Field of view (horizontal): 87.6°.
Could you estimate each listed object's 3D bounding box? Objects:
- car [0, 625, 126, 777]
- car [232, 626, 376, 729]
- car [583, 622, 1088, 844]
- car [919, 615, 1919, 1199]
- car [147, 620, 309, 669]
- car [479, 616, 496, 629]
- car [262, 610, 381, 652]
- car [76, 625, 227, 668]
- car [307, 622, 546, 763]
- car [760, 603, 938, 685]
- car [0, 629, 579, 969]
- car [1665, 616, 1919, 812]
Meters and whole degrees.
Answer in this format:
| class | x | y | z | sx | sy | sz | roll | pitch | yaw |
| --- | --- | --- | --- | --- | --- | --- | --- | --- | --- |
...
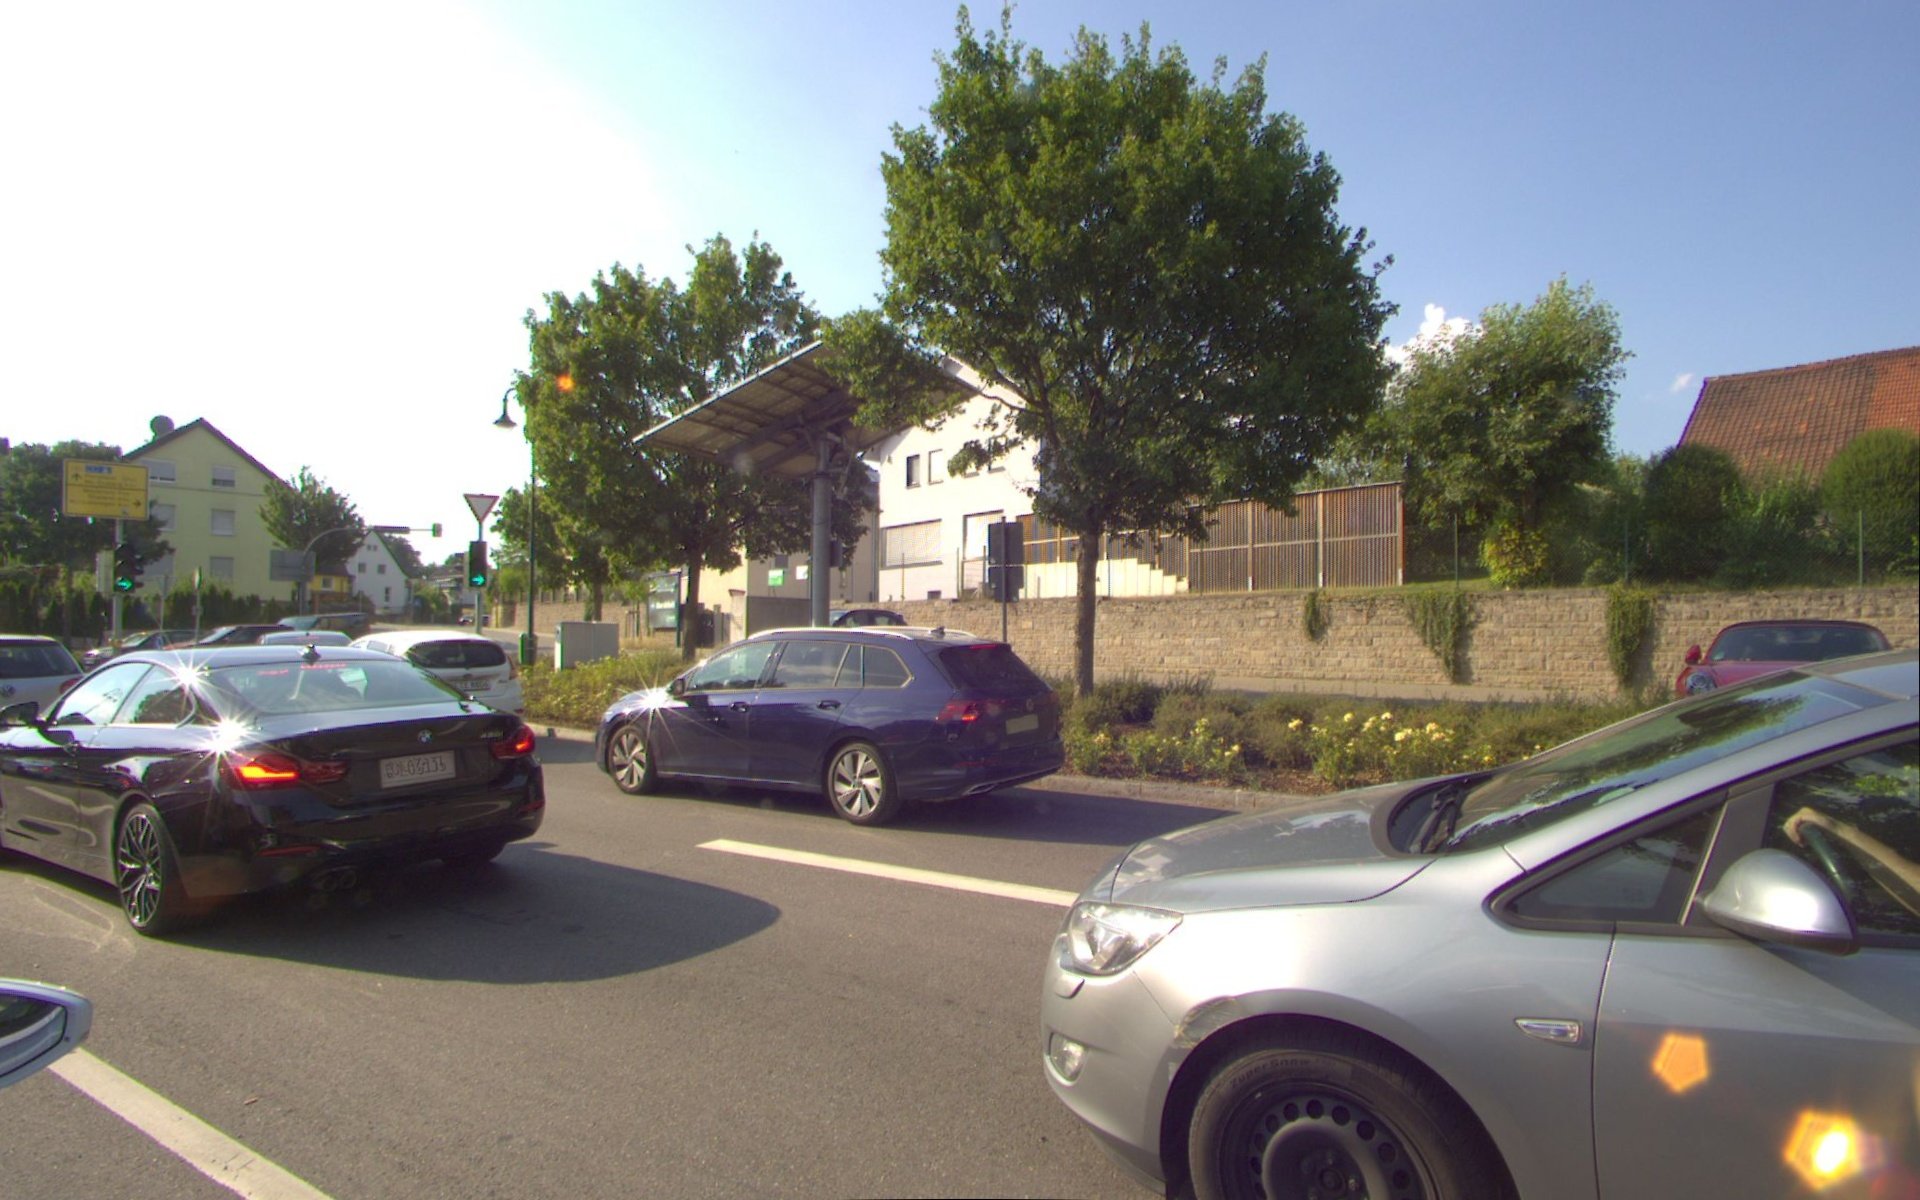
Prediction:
| class | x | y | z | sx | sy | sz | roll | pitch | yaw |
| --- | --- | --- | --- | --- | --- | --- | --- | --- | --- |
| car | -10.816 | 1.008 | 10.794 | 3.848 | 1.444 | 1.758 | -1 | 0 | 33 |
| car | -11.764 | 1.266 | 17.829 | 1.643 | 1.562 | 4.362 | -1 | 0 | -40 |
| car | -1.195 | 0.944 | 8.686 | 4.259 | 1.472 | 1.757 | -1 | 0 | 34 |
| car | 2.163 | 0.780 | 2.177 | 4.256 | 1.472 | 1.758 | -1 | 0 | 31 |
| car | -26.499 | 1.590 | 36.424 | 1.818 | 1.662 | 4.418 | 0 | -2 | 25 |
| car | -65.930 | 3.148 | 139.795 | 1.939 | 1.701 | 4.202 | 0 | -1 | -23 |
| car | -28.409 | 1.383 | 44.779 | 1.812 | 1.761 | 4.785 | 0 | -2 | 7 |
| car | -30.085 | 1.710 | 37.377 | 1.821 | 1.508 | 3.983 | -1 | -2 | 30 |
| car | -6.929 | 1.076 | 12.903 | 3.278 | 1.562 | 1.611 | -1 | 0 | 40 |
| car | -2.389 | 0.955 | 22.313 | 1.758 | 1.653 | 3.800 | -1 | -2 | 40 |
| car | -4.445 | 0.911 | 6.201 | 4.220 | 1.416 | 1.758 | -1 | 0 | 33 |
| car | 8.214 | 0.948 | 9.761 | 1.758 | 1.510 | 4.120 | -1 | -2 | 41 |
